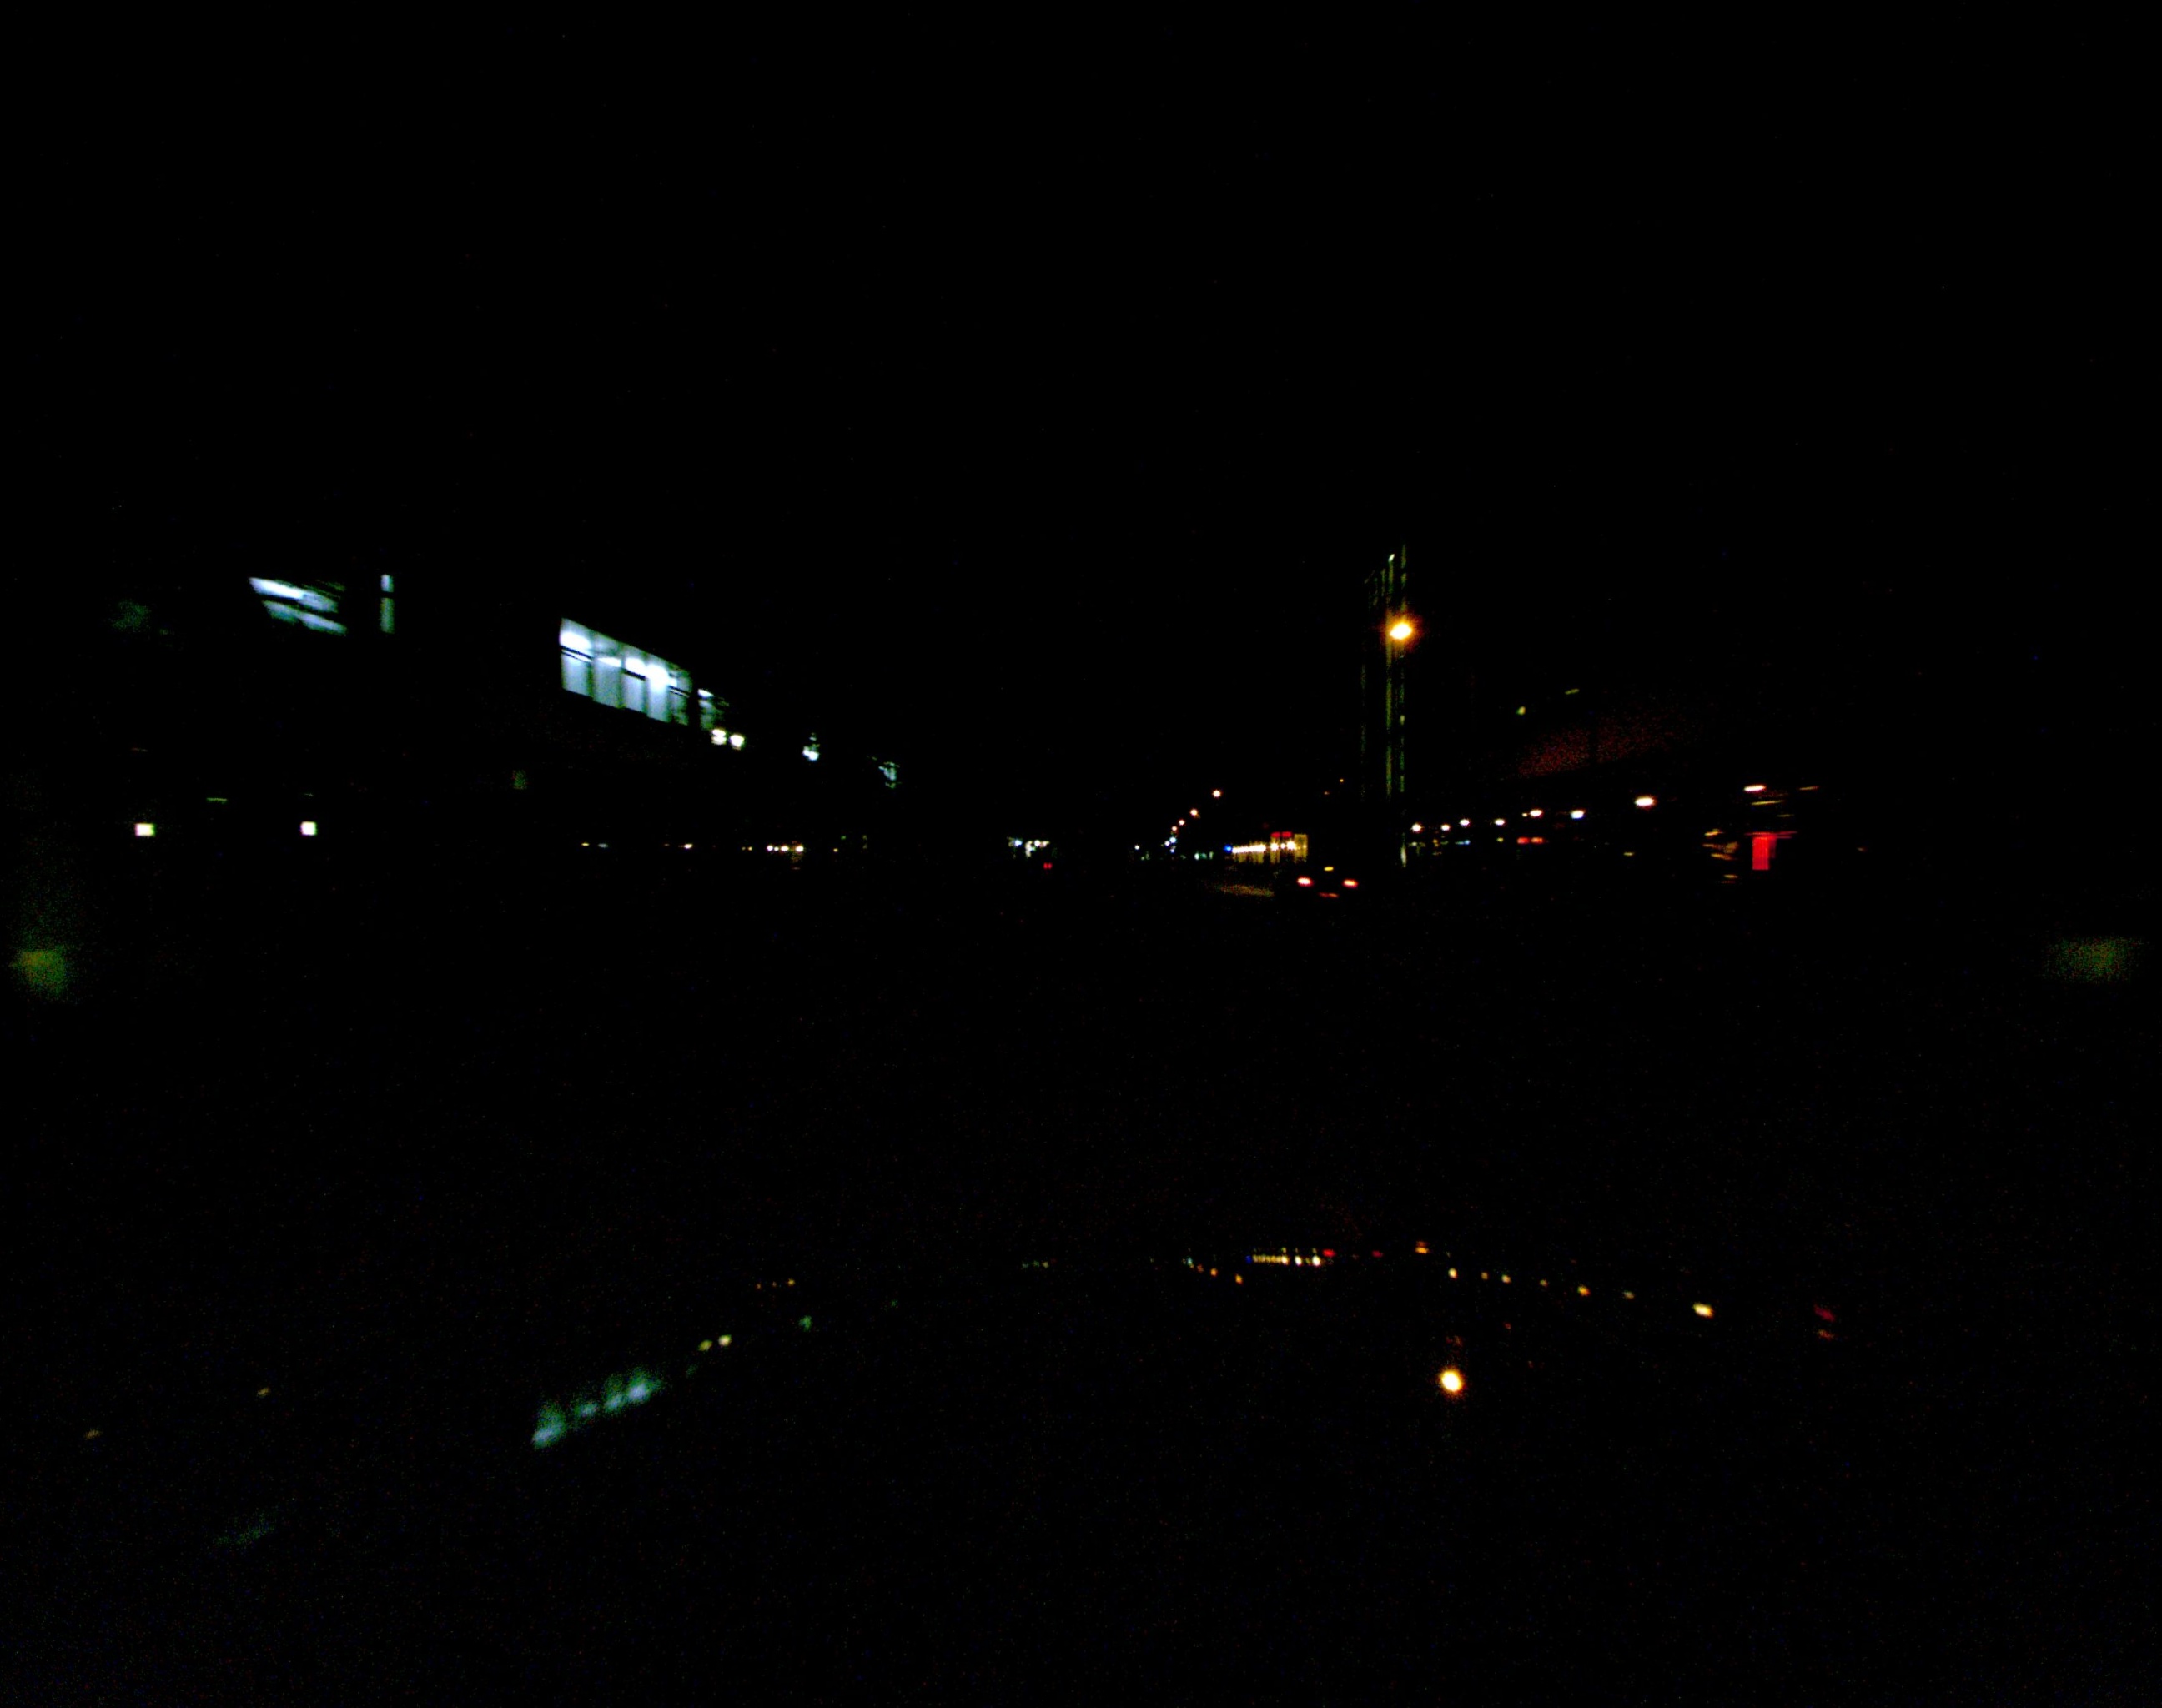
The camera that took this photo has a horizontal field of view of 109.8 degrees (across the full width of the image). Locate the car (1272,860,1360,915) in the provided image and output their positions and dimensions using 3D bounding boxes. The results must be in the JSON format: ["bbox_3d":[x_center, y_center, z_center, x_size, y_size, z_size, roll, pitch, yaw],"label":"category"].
[{"bbox_3d":[7.133,0.964,23.477,1.670,1.420,4.001,2,0,4],"label":"car"}]
